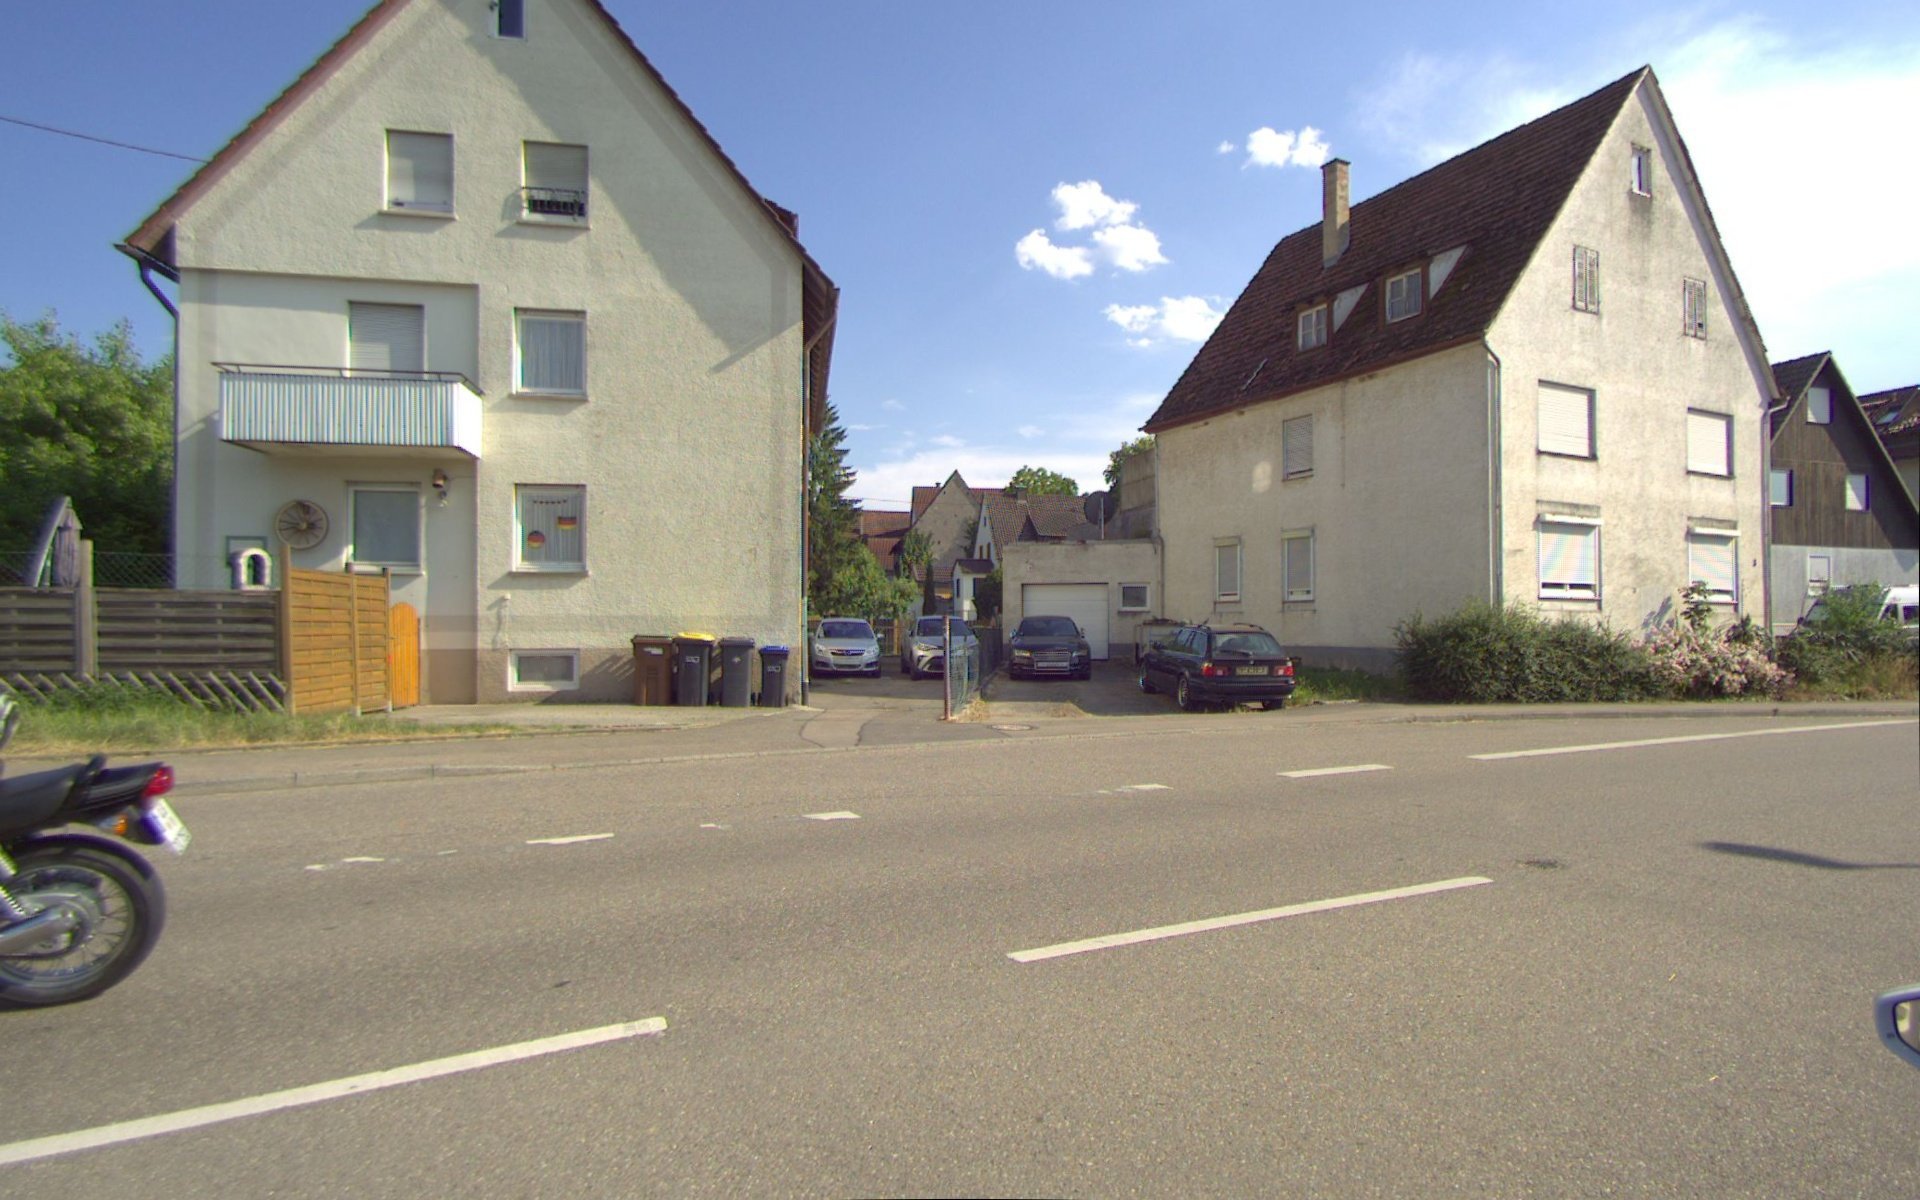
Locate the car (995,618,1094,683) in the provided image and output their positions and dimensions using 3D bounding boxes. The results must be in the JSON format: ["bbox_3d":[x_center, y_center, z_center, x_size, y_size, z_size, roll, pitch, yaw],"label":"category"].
[{"bbox_3d":[1.950,1.145,24.261,1.654,1.379,3.996,0,0,-6],"label":"car"}]

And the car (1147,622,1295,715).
[{"bbox_3d":[4.639,1.160,18.410,1.621,1.452,4.000,0,0,-1],"label":"car"}]

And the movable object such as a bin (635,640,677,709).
[{"bbox_3d":[-4.604,1.127,15.222,0.548,1.029,0.361,2,-2,-12],"label":"movable object such as a bin"}]

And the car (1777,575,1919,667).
[{"bbox_3d":[28.159,0.629,30.995,6.010,2.630,2.153,0,-1,-24],"label":"car"}]

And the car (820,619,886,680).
[{"bbox_3d":[-2.825,1.221,25.966,1.521,1.405,3.994,0,0,-8],"label":"car"}]

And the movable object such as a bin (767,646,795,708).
[{"bbox_3d":[-2.787,1.196,15.662,0.393,0.937,0.361,2,-2,-12],"label":"movable object such as a bin"}]

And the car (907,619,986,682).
[{"bbox_3d":[-0.426,1.212,25.444,1.654,1.432,3.996,0,0,-6],"label":"car"}]

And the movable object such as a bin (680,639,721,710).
[{"bbox_3d":[-3.963,1.133,15.367,0.548,1.055,0.361,2,-2,-12],"label":"movable object such as a bin"}]

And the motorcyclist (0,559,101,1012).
[{"bbox_3d":[-3.690,0.591,3.362,1.022,1.455,0.800,1,0,-24],"label":"motorcyclist"}]

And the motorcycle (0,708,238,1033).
[{"bbox_3d":[-3.742,0.930,3.414,2.000,1.026,0.523,1,0,-25],"label":"motorcycle"}]

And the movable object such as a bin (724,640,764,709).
[{"bbox_3d":[-3.338,1.143,15.512,0.567,1.036,0.361,2,-2,-12],"label":"movable object such as a bin"}]
